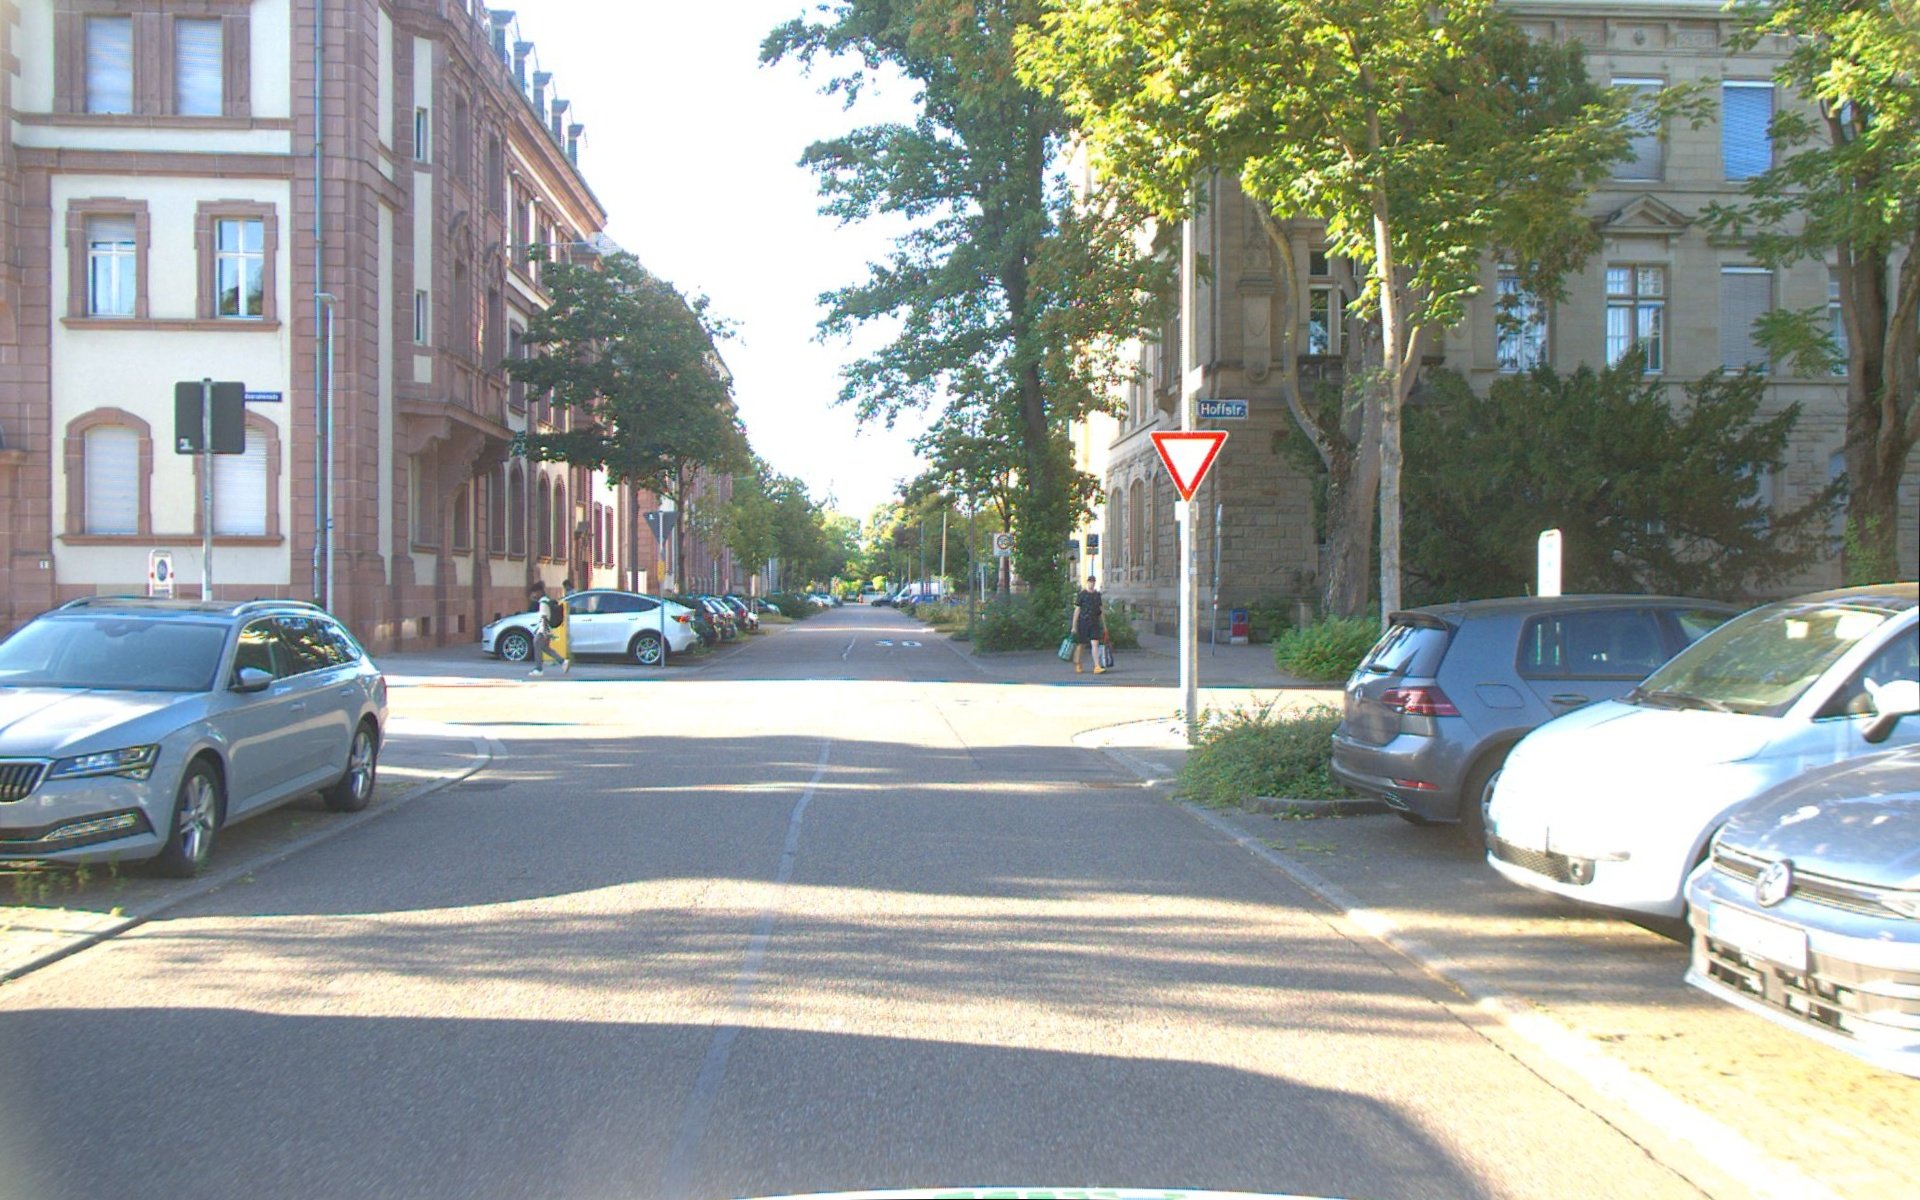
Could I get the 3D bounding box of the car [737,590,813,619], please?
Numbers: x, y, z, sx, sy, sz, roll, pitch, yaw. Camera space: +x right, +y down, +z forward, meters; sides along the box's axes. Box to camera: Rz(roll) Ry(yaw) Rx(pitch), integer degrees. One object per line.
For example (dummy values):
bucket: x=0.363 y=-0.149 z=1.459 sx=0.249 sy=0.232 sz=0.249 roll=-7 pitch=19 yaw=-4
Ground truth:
car: x=-10.902 y=0.261 z=97.583 sx=4.395 sy=1.636 sz=1.840 roll=0 pitch=0 yaw=-5

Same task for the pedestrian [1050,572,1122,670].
pedestrian: x=2.481 y=0.400 z=32.587 sx=1.051 sy=1.890 sz=0.990 roll=0 pitch=0 yaw=-35

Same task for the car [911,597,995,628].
car: x=-0.403 y=0.692 z=89.925 sx=4.395 sy=1.636 sz=1.840 roll=0 pitch=0 yaw=-5

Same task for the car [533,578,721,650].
car: x=-8.222 y=0.346 z=41.164 sx=4.395 sy=1.747 sz=1.840 roll=0 pitch=0 yaw=-5

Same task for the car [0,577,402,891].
car: x=-5.049 y=0.649 z=10.345 sx=1.745 sy=1.531 sz=4.550 roll=0 pitch=0 yaw=-3

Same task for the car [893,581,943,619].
car: x=-4.163 y=0.019 z=162.807 sx=4.789 sy=3.681 sz=1.841 roll=0 pitch=0 yaw=-4

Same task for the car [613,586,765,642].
car: x=-8.132 y=0.418 z=49.947 sx=4.395 sy=1.636 sz=1.840 roll=0 pitch=0 yaw=-5

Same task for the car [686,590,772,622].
car: x=-12.171 y=0.324 z=87.459 sx=4.395 sy=1.636 sz=1.840 roll=0 pitch=0 yaw=-5

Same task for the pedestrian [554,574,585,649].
pedestrian: x=-10.510 y=0.307 z=44.536 sx=0.771 sy=1.996 sz=0.718 roll=0 pitch=-1 yaw=-11

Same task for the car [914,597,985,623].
car: x=-0.697 y=0.641 z=107.480 sx=4.494 sy=1.636 sz=1.840 roll=0 pitch=0 yaw=-5

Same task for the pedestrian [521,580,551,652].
pedestrian: x=-11.814 y=0.440 z=46.097 sx=0.704 sy=1.996 sz=0.786 roll=0 pitch=-1 yaw=-6

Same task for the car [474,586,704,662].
car: x=-8.144 y=0.521 z=36.619 sx=4.748 sy=1.622 sz=1.840 roll=0 pitch=0 yaw=-5

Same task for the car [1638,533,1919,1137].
car: x=4.647 y=0.612 z=5.077 sx=4.404 sy=1.576 sz=1.889 roll=0 pitch=0 yaw=-6

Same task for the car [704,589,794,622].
car: x=-10.674 y=0.272 z=83.892 sx=4.395 sy=1.636 sz=1.840 roll=0 pitch=0 yaw=-5

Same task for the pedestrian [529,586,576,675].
pedestrian: x=-7.576 y=0.567 z=30.748 sx=0.770 sy=1.634 sz=0.719 roll=0 pitch=-1 yaw=-9

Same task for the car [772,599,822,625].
car: x=-14.660 y=1.051 z=148.811 sx=4.494 sy=2.304 sz=1.840 roll=0 pitch=0 yaw=-5

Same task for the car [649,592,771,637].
car: x=-9.303 y=0.519 z=61.872 sx=4.395 sy=1.636 sz=1.840 roll=0 pitch=0 yaw=-5

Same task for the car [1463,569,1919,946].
car: x=4.497 y=0.642 z=7.611 sx=3.873 sy=1.543 sz=1.674 roll=0 pitch=0 yaw=0

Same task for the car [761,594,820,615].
car: x=-13.182 y=0.363 z=128.884 sx=4.494 sy=1.636 sz=1.840 roll=0 pitch=0 yaw=-5

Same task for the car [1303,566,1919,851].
car: x=4.260 y=0.628 z=10.175 sx=3.874 sy=1.543 sz=1.873 roll=-1 pitch=-2 yaw=-2

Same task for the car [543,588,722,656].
car: x=-8.516 y=0.555 z=43.317 sx=4.395 sy=1.747 sz=1.840 roll=0 pitch=0 yaw=-5

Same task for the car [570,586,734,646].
car: x=-8.635 y=0.452 z=46.673 sx=4.395 sy=1.636 sz=1.840 roll=0 pitch=0 yaw=-5

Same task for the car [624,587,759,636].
car: x=-9.093 y=0.379 z=56.268 sx=4.395 sy=1.636 sz=1.840 roll=0 pitch=0 yaw=-5
